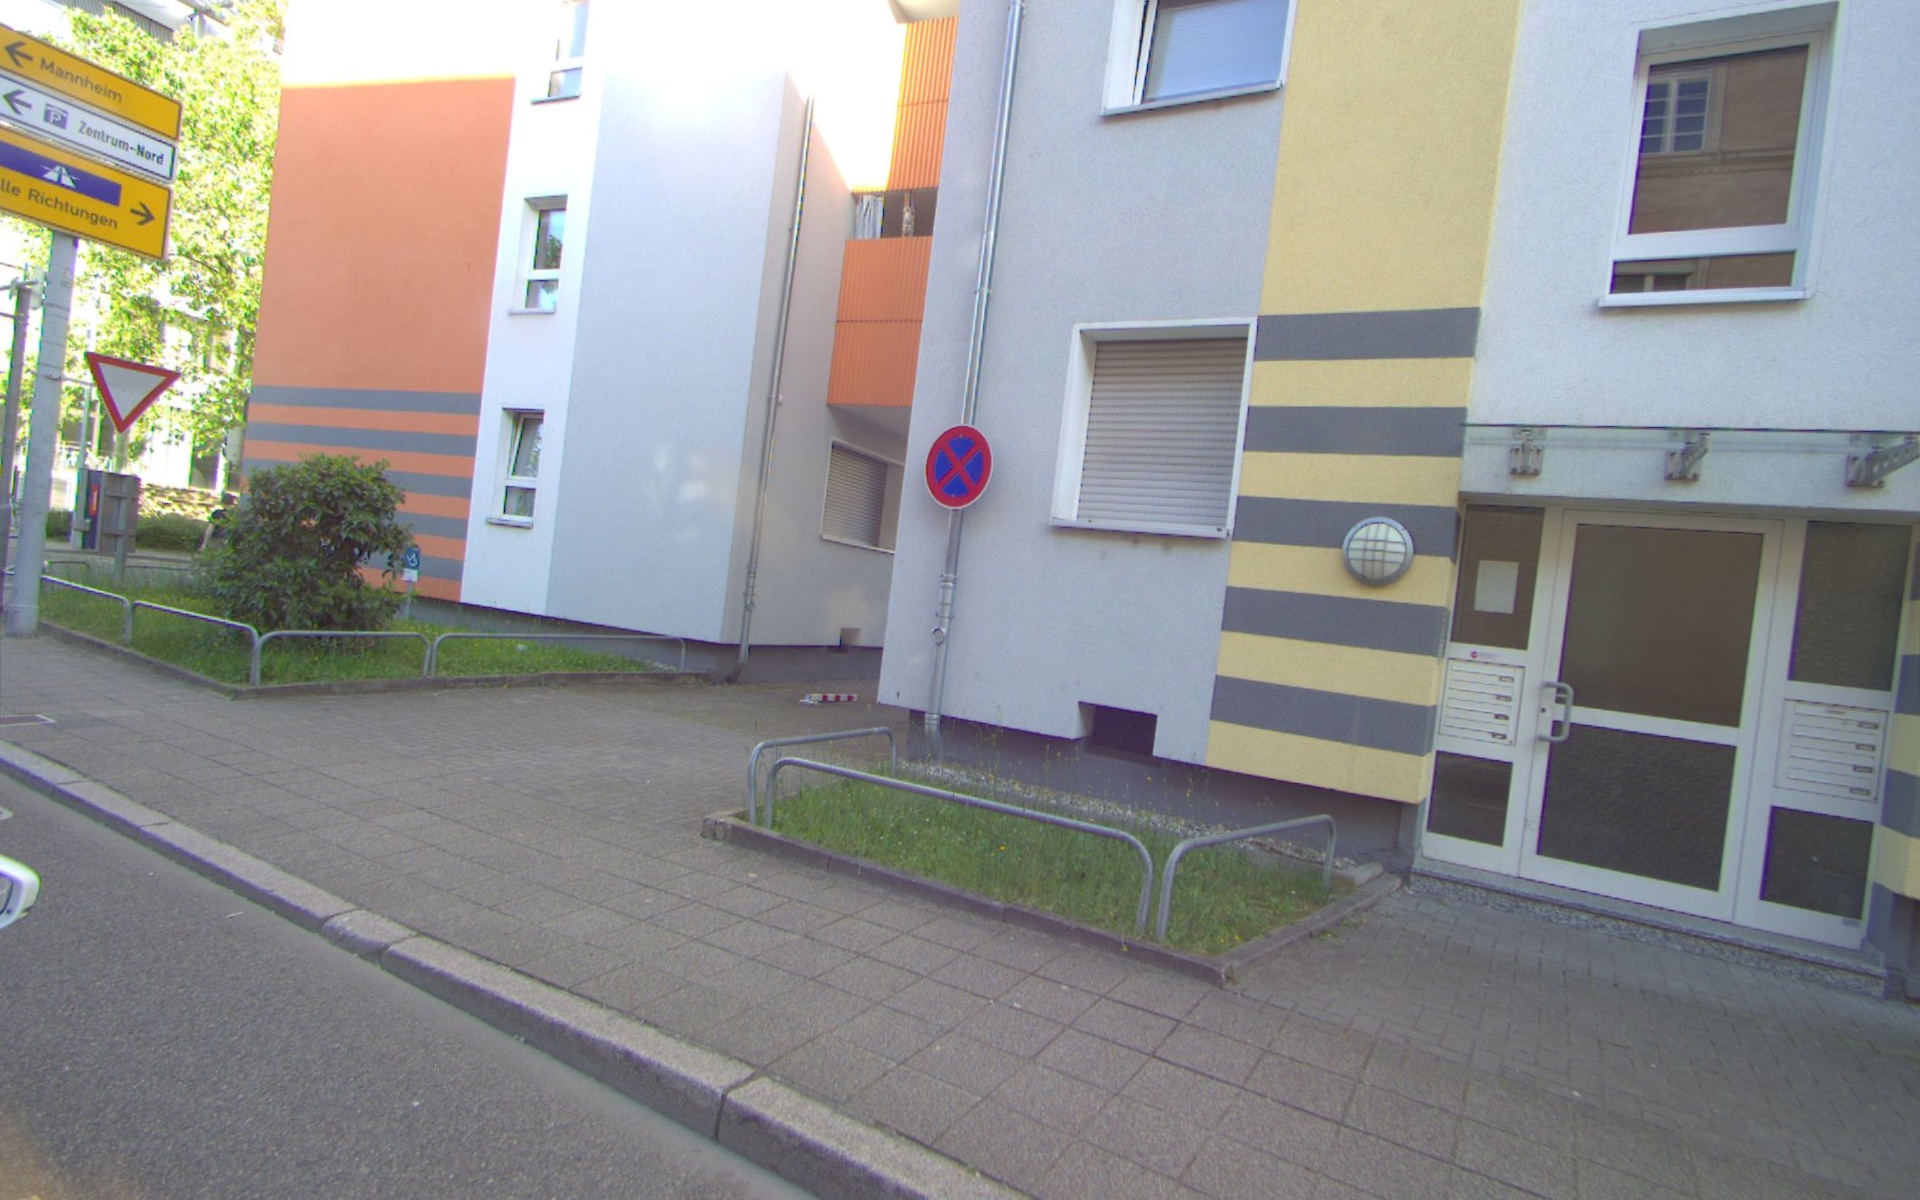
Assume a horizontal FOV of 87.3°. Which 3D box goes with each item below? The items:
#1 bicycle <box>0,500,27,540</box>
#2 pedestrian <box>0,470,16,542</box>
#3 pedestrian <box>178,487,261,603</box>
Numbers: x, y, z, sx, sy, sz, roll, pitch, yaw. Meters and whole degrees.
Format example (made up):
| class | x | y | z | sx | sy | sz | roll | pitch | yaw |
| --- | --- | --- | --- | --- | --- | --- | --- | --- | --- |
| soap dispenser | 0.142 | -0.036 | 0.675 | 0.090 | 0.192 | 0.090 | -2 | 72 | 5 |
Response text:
| class | x | y | z | sx | sy | sz | roll | pitch | yaw |
| --- | --- | --- | --- | --- | --- | --- | --- | --- | --- |
| bicycle | -26.397 | -2.247 | 27.397 | 1.409 | 1.021 | 0.379 | 7 | 1 | -11 |
| pedestrian | -25.544 | -2.528 | 26.236 | 0.902 | 1.837 | 0.761 | 7 | -1 | -11 |
| pedestrian | -12.545 | -0.909 | 17.075 | 0.690 | 1.831 | 0.719 | 7 | -1 | -9 |
